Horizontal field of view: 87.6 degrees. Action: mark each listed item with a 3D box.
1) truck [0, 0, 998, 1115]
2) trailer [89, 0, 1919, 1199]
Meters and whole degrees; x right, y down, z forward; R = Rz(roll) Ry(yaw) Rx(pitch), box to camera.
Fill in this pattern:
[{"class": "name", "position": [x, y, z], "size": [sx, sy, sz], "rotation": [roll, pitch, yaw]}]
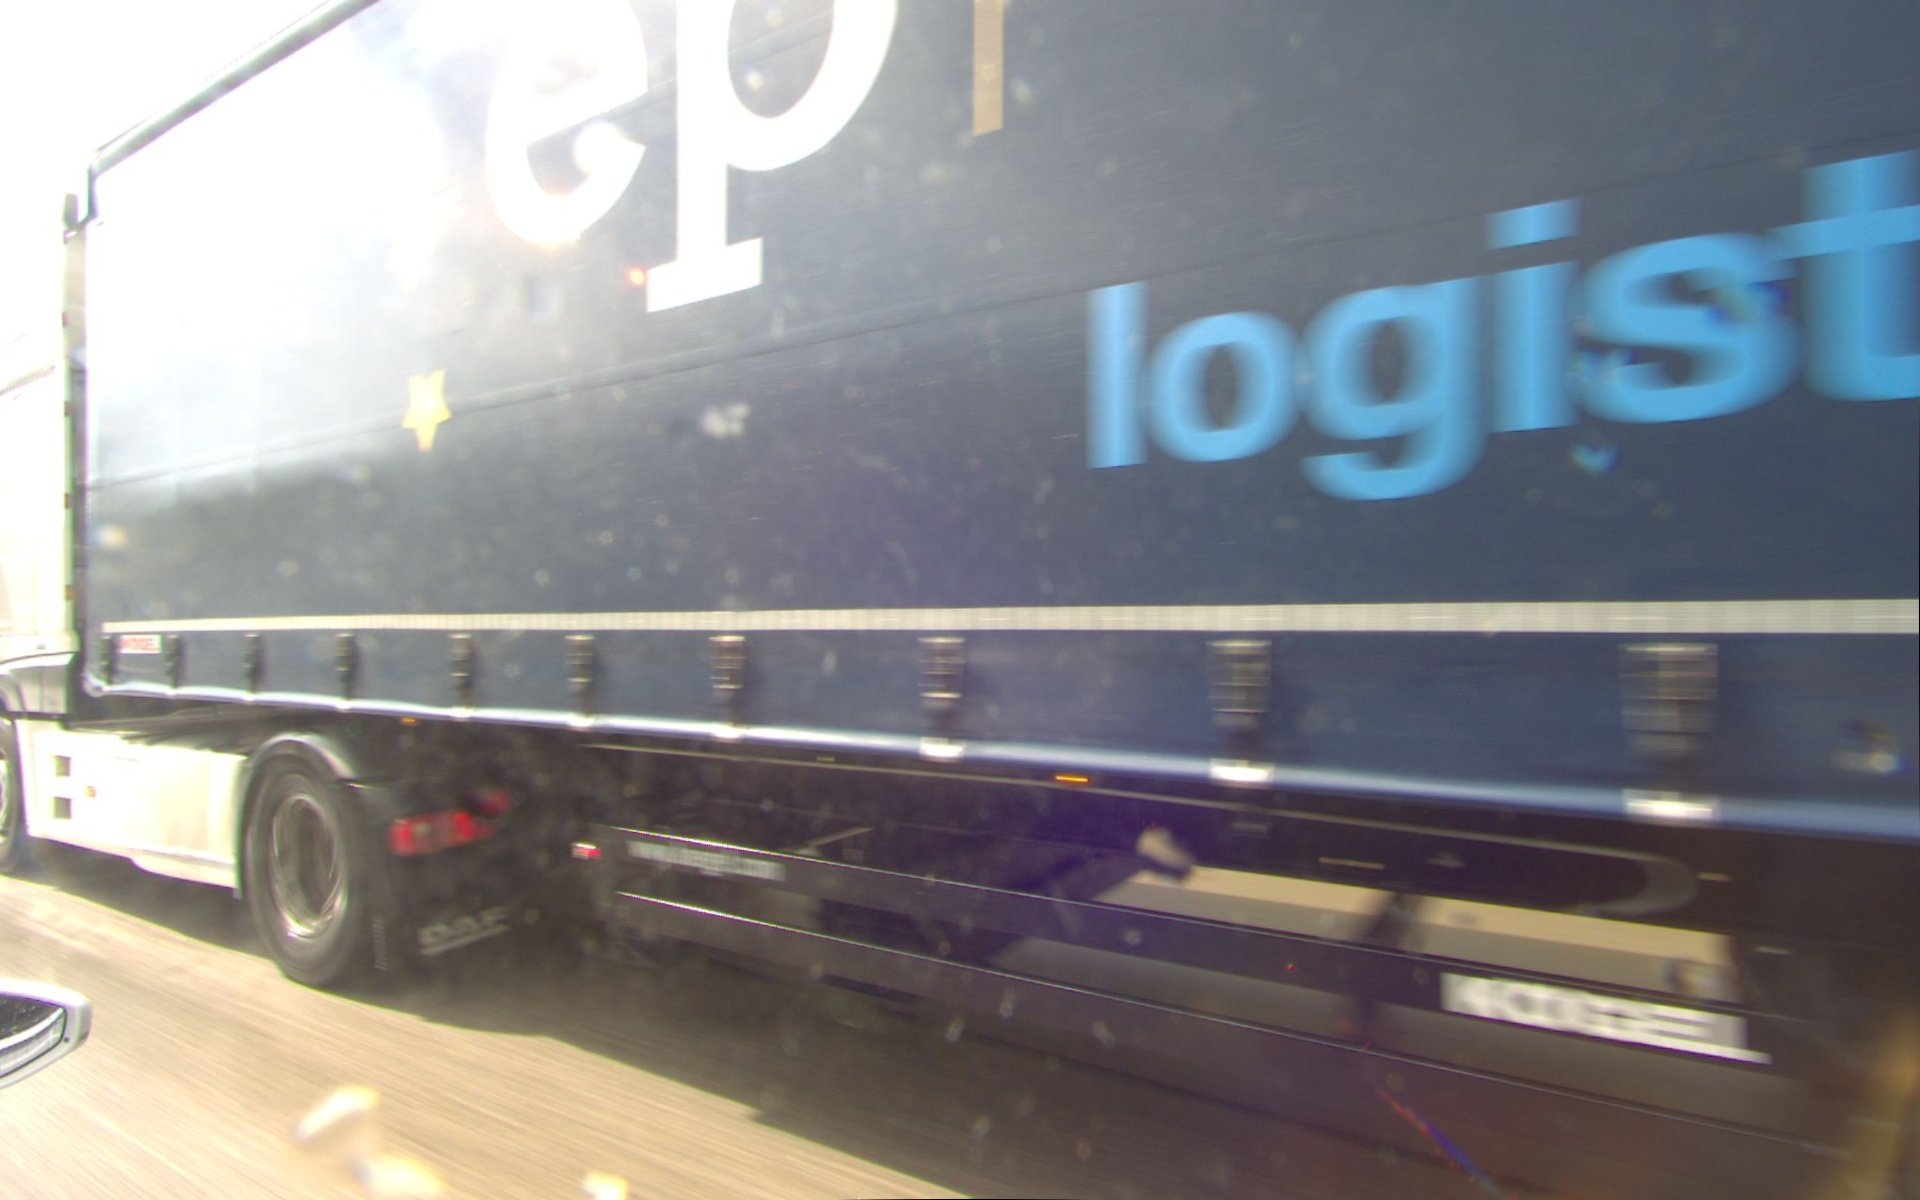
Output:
[{"class": "truck", "position": [-3.525, -0.377, 6.039], "size": [7.185, 4.047, 2.603], "rotation": [-1, -2, 32]}, {"class": "trailer", "position": [2.262, -0.527, 2.383], "size": [13.863, 4.047, 2.630], "rotation": [-1, -2, 32]}]
